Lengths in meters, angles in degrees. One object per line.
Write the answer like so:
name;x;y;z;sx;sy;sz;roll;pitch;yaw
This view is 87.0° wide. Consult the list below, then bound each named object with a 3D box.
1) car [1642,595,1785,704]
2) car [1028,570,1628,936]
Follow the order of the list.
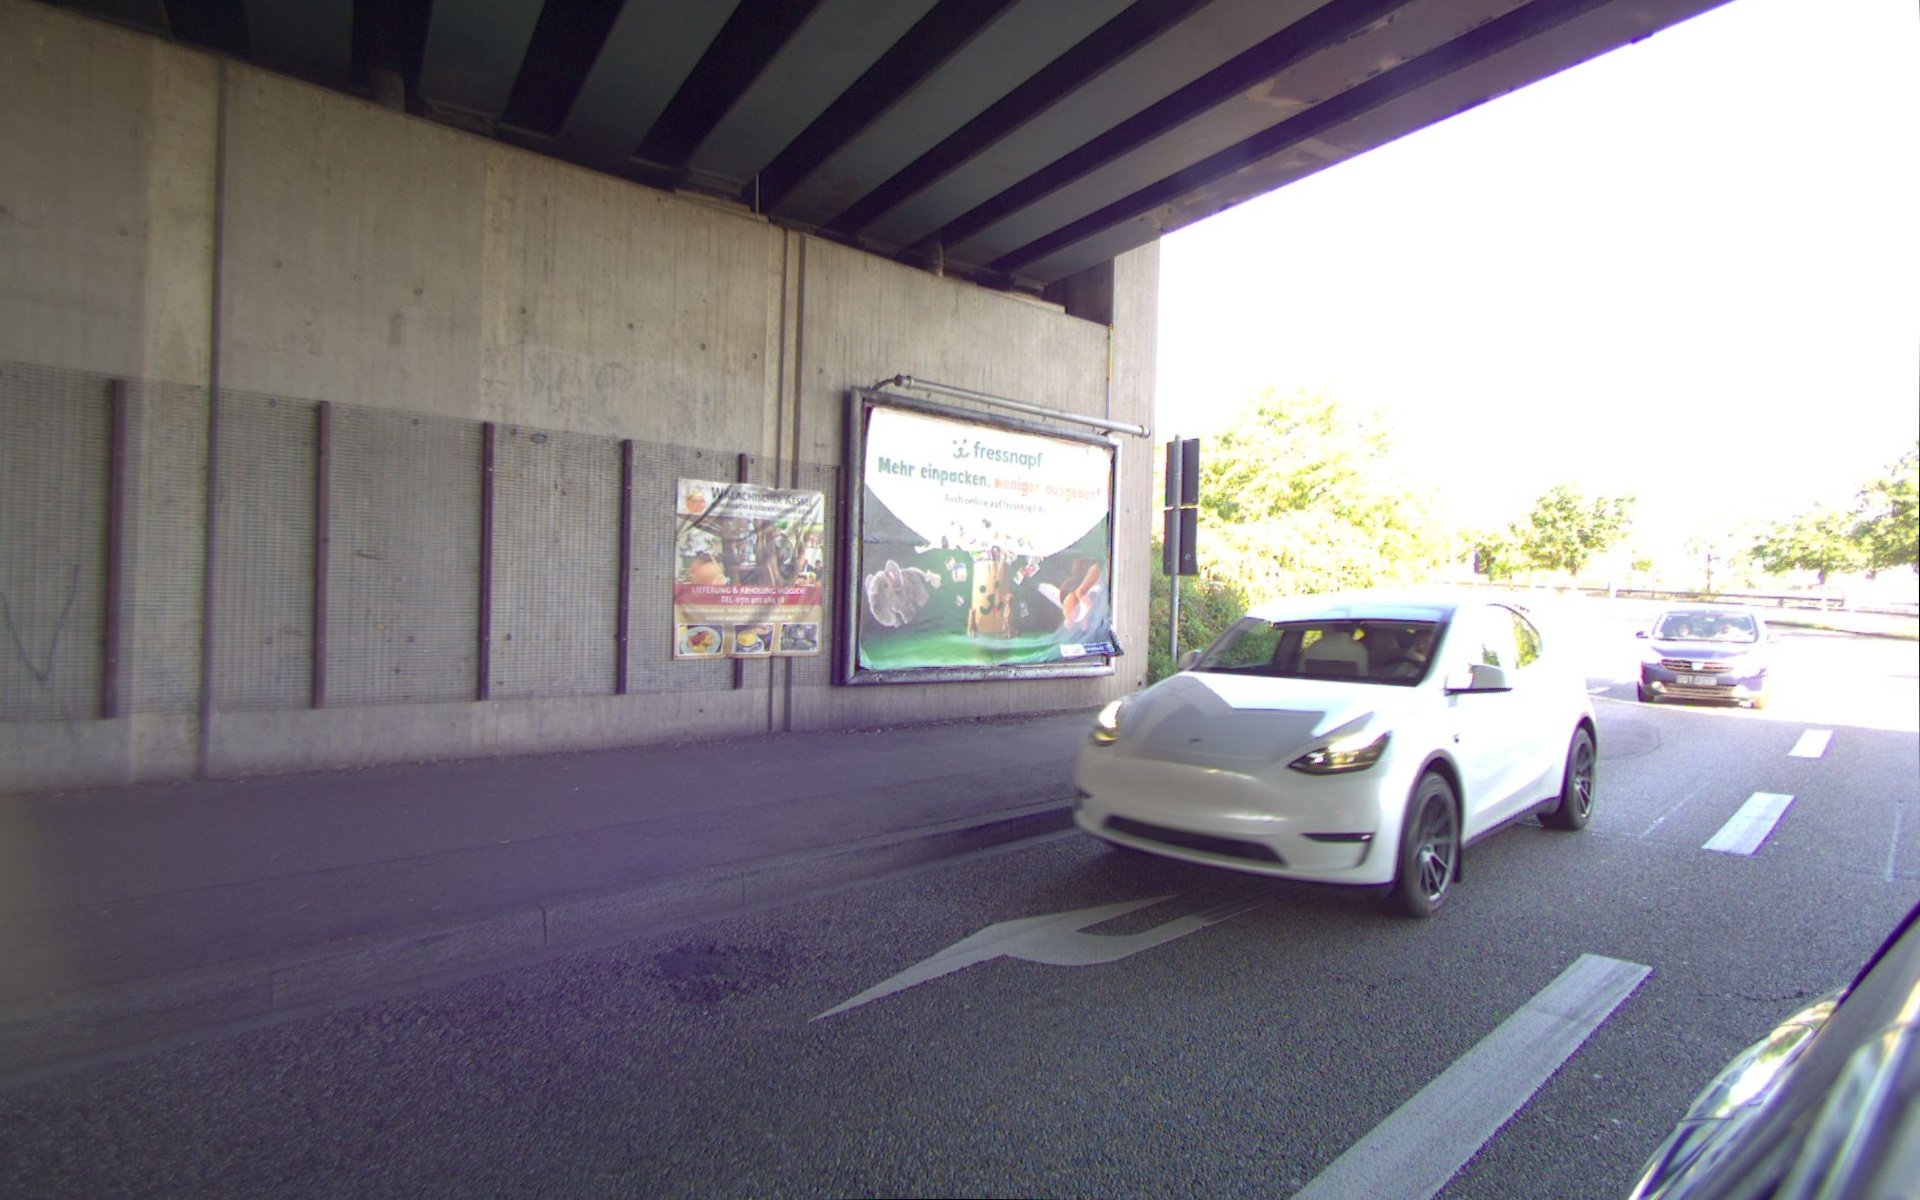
car;12.951;0.738;17.360;1.771;1.621;4.048;0;0;38
car;2.631;0.674;6.591;4.347;1.571;1.995;1;-1;-44
